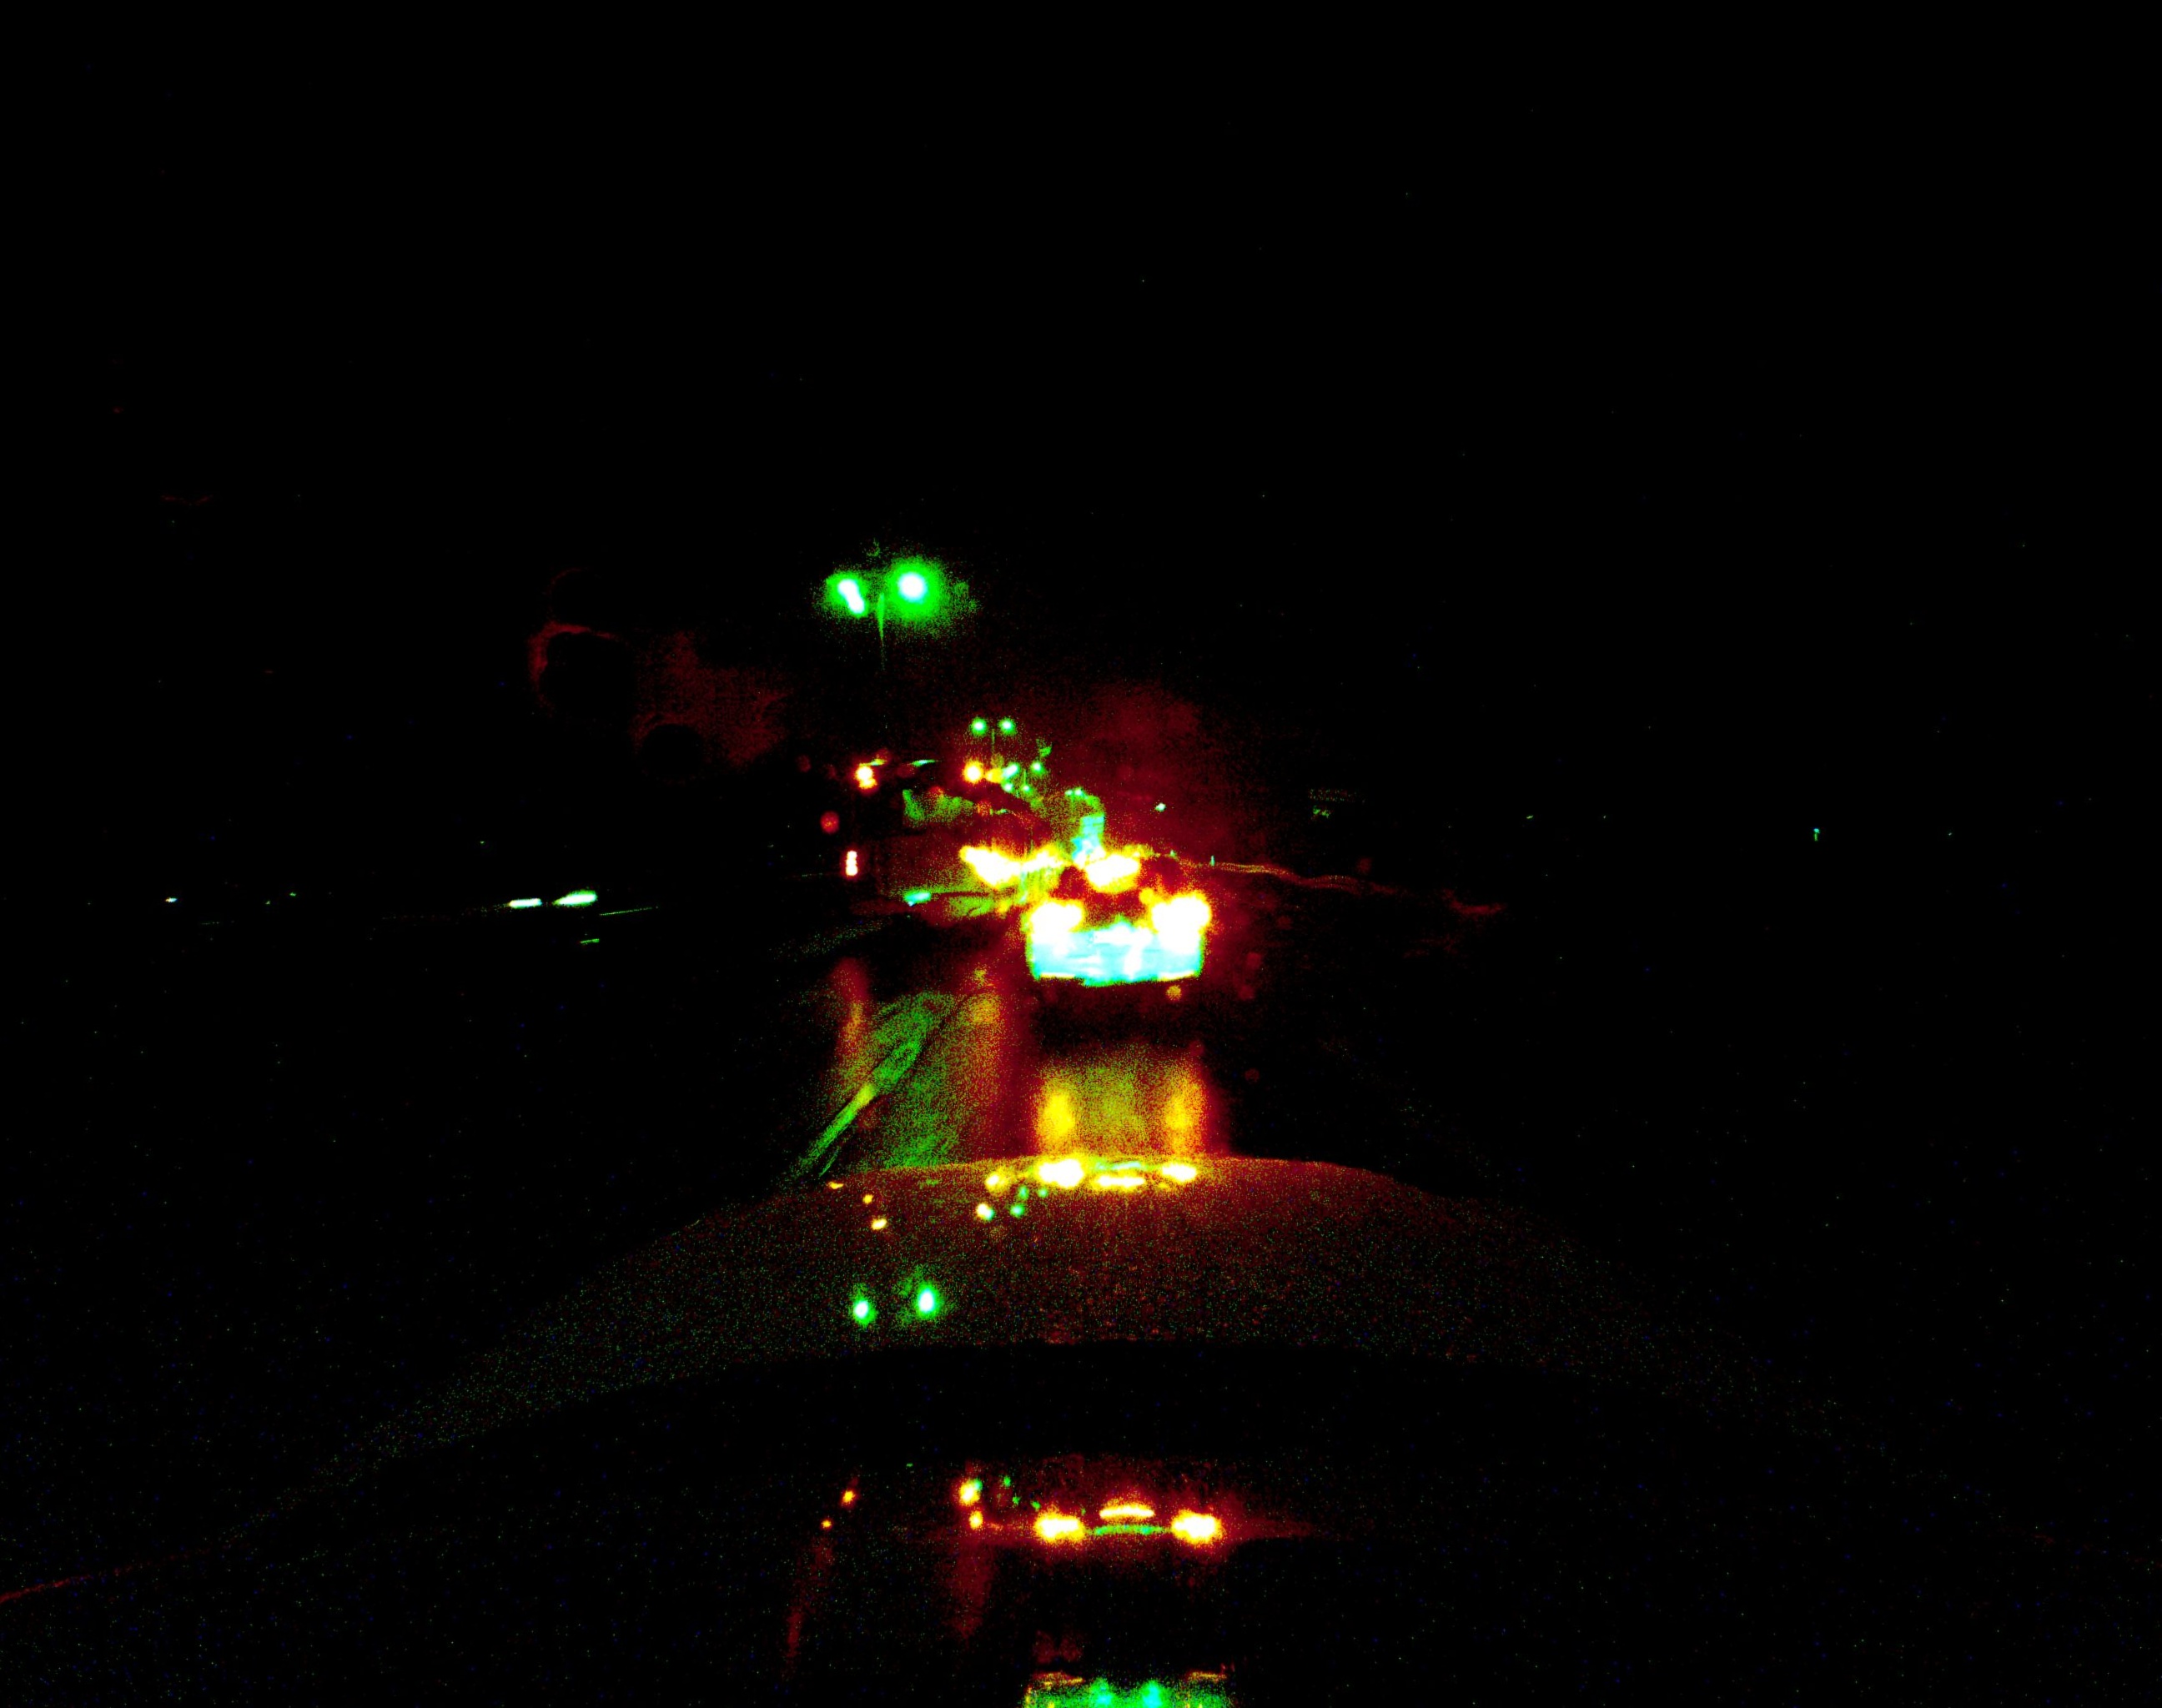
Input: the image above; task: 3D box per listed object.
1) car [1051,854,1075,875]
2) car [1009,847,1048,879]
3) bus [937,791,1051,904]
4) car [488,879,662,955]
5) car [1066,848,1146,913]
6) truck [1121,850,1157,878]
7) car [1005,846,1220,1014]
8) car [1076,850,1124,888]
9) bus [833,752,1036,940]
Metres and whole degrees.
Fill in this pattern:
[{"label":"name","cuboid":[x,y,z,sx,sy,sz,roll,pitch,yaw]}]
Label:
[{"label":"car","cuboid":[-1.272,0.763,58.632,1.552,1.487,3.810,1,-1,1]},{"label":"car","cuboid":[-2.526,0.451,40.162,1.552,1.487,3.810,1,-1,1]},{"label":"bus","cuboid":[-2.591,-0.217,27.201,2.734,3.123,8.704,1,0,1]},{"label":"car","cuboid":[-13.543,1.614,22.166,1.986,1.809,4.201,1,-1,1]},{"label":"car","cuboid":[0.621,0.619,20.527,1.815,1.461,3.717,-1,0,1]},{"label":"truck","cuboid":[5.612,0.972,77.765,3.054,2.528,7.179,0,-1,7]},{"label":"car","cuboid":[0.266,0.689,9.241,1.938,1.491,3.714,-1,0,-1]},{"label":"car","cuboid":[0.789,0.582,32.995,1.815,1.461,3.717,-1,0,1]},{"label":"bus","cuboid":[-2.711,-0.173,18.237,2.734,3.123,9.202,1,0,1]}]
